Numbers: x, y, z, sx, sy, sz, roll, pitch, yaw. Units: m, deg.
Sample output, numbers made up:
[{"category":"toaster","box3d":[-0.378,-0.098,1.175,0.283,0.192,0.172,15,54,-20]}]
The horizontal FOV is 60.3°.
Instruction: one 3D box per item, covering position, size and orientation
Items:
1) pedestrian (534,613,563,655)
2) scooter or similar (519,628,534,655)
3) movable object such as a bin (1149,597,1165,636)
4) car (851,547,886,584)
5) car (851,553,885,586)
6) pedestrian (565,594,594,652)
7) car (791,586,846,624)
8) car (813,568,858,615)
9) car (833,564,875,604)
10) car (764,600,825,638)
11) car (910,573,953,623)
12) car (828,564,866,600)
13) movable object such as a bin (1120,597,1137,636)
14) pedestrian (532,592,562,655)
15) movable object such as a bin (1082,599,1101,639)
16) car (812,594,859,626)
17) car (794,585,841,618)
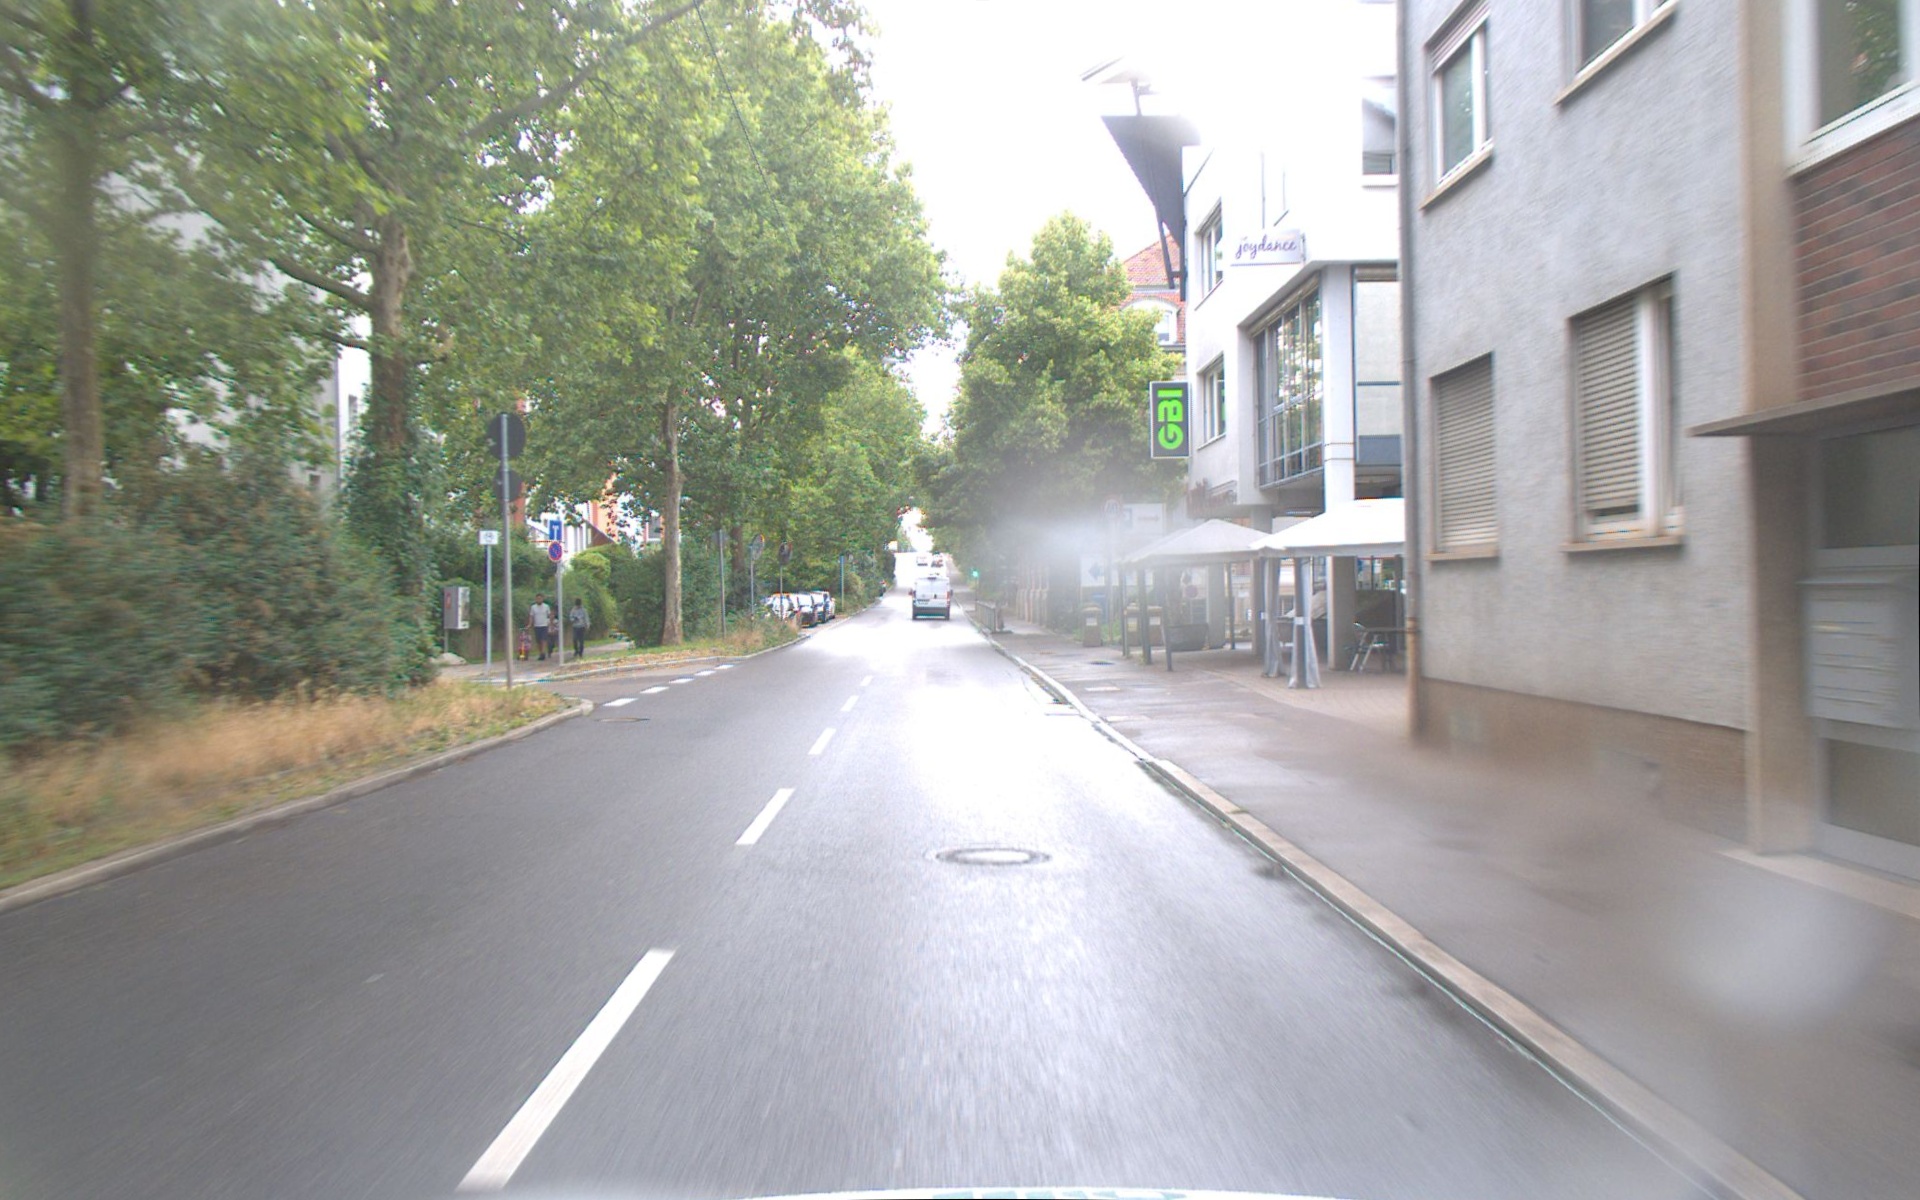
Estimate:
[{"category":"pedestrian","box3d":[-11.347,0.932,45.610,0.667,1.127,0.622,1,-2,-4]},{"category":"scooter or similar","box3d":[-11.465,1.092,43.757,0.301,0.693,0.388,1,-2,-4]},{"category":"movable object such as a bin","box3d":[5.483,0.455,46.080,0.349,1.085,0.358,1,-2,-7]},{"category":"car","box3d":[-6.672,-2.501,120.746,2.170,2.334,4.609,1,-3,1]},{"category":"car","box3d":[-7.085,-2.319,128.027,2.169,2.334,4.610,1,-2,2]},{"category":"pedestrian","box3d":[-10.657,0.644,46.318,0.667,1.598,0.622,1,-1,-4]},{"category":"car","box3d":[-6.924,0.271,81.248,2.170,1.759,4.609,1,-2,1]},{"category":"car","box3d":[-7.403,-0.467,98.866,2.170,2.578,4.609,1,-2,1]},{"category":"car","box3d":[-6.633,-0.965,104.048,2.170,2.334,4.609,1,-2,1]},{"category":"car","box3d":[-7.418,0.897,74.749,2.170,1.620,4.609,1,-2,1]},{"category":"car","box3d":[-1.511,-0.080,88.481,2.236,2.597,3.999,0,-2,-1]},{"category":"car","box3d":[-7.778,-1.192,114.074,2.170,2.334,4.610,1,-1,1]},{"category":"movable object such as a bin","box3d":[4.692,0.470,46.021,0.392,1.085,0.358,0,-2,-7]},{"category":"pedestrian","box3d":[-10.941,0.622,43.815,0.626,1.640,0.622,1,-2,-4]},{"category":"movable object such as a bin","box3d":[3.655,0.529,46.021,0.392,1.085,0.358,-4,-1,-7]},{"category":"car","box3d":[-7.045,0.584,93.911,2.170,1.721,4.609,1,-2,1]},{"category":"car","box3d":[-7.539,0.101,87.833,1.954,1.570,4.609,1,-2,1]}]
